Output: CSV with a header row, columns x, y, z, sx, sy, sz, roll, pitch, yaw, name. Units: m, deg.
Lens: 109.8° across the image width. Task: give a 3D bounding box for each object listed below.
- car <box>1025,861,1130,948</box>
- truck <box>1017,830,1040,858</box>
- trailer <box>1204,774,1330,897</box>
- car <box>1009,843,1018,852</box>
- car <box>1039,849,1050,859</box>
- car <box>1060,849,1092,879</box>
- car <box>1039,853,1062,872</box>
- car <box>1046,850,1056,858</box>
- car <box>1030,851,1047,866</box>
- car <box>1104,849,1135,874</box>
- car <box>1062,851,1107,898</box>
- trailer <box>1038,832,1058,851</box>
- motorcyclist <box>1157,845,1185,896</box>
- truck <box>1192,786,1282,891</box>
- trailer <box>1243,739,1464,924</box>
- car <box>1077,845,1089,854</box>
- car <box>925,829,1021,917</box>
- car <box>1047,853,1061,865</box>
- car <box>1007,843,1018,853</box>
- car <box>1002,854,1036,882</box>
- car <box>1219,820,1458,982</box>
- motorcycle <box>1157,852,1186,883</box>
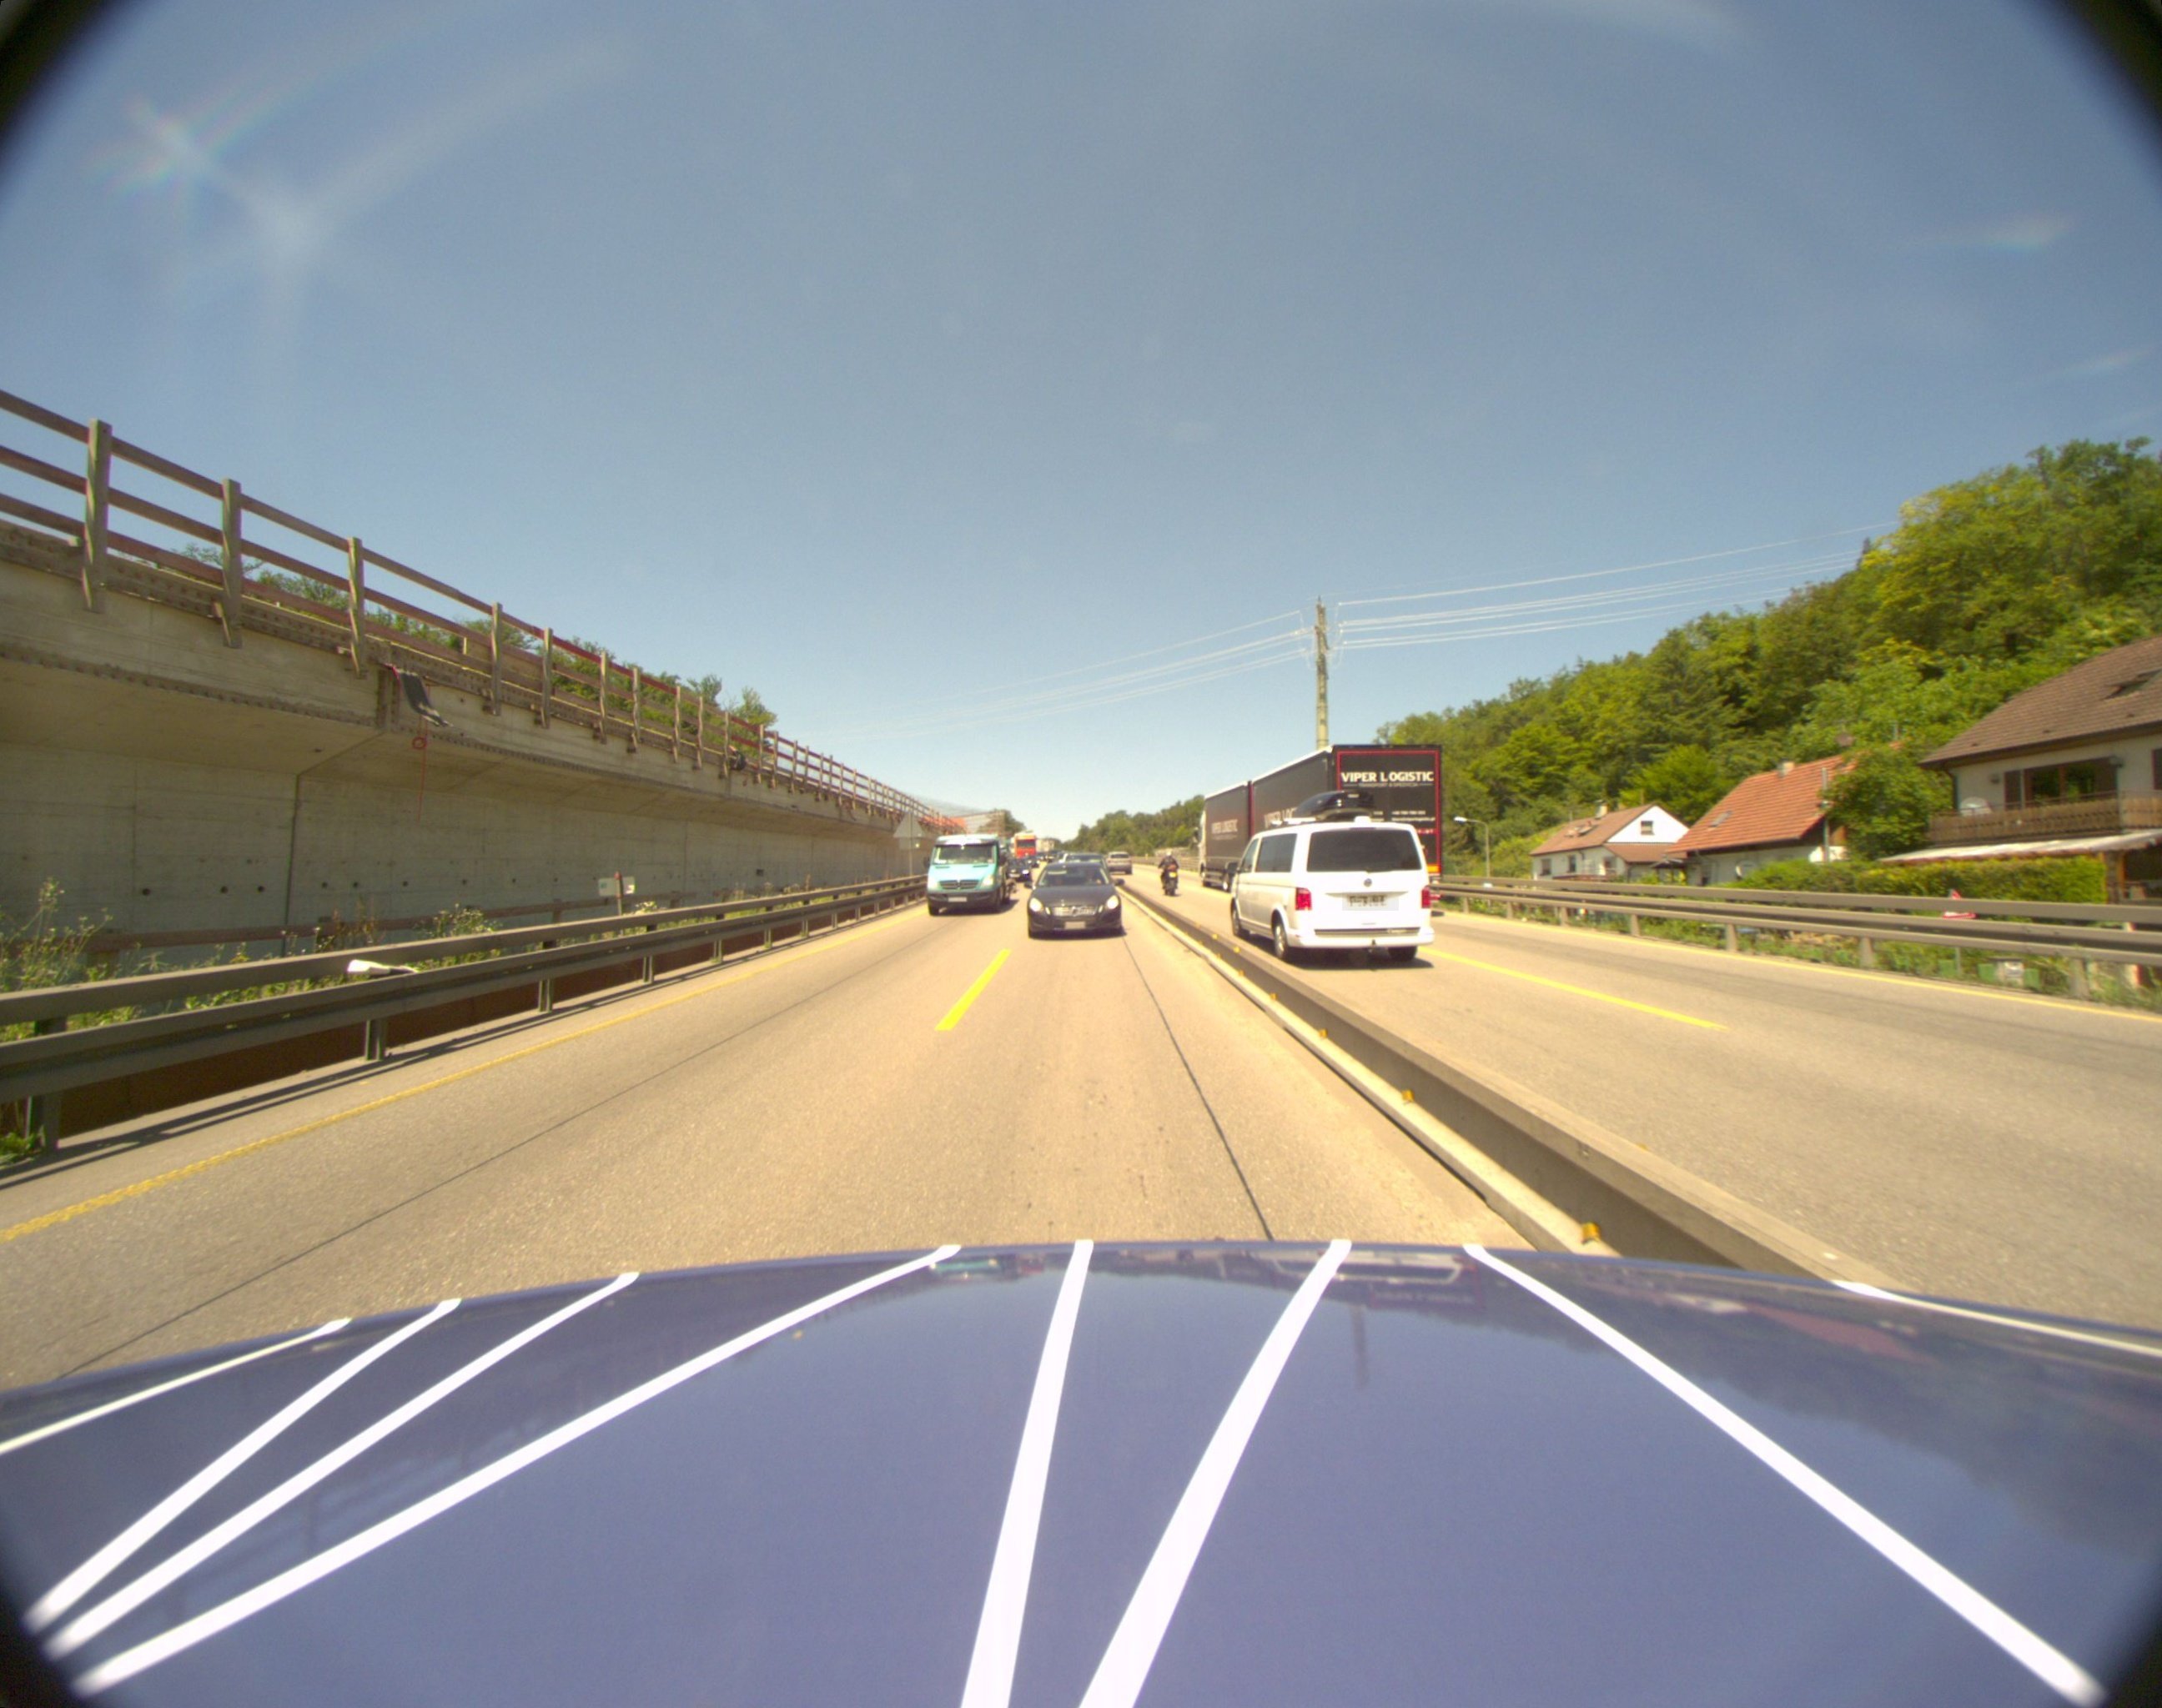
x,y,z,sx,sy,sz,roll,pitch,yaw,name
-0.232,0.929,16.060,1.845,1.475,4.560,-1,0,-5,car
-6.993,-1.381,100.235,2.472,3.464,9.860,-2,1,-6,truck
6.919,-0.575,29.572,2.764,4.046,8.007,-2,0,-1,trailer
-13.508,-1.274,152.830,1.586,1.666,3.343,-2,1,-1,car
-5.738,-0.002,119.234,1.586,1.366,3.343,-2,1,-1,car
-0.307,0.559,44.857,1.736,1.558,3.618,-2,1,-2,car
-2.351,0.649,59.212,1.647,1.366,3.343,-2,1,-1,car
-5.167,-0.033,132.298,1.586,1.366,3.343,-2,1,-1,car
-4.371,0.464,78.996,1.647,1.366,3.343,-2,1,-1,car
2.707,0.516,53.767,1.864,1.602,4.067,-2,1,-1,car
0.077,0.717,28.335,1.520,1.543,3.859,-1,1,-1,car
-8.078,-2.976,185.338,3.262,4.354,14.045,-2,1,-8,trailer
3.360,0.619,28.351,0.855,1.844,0.983,-2,0,0,motorcyclist
6.835,-0.662,33.996,2.759,4.258,4.956,-2,0,-2,truck
6.992,-0.466,21.228,2.764,4.046,8.633,-2,0,-1,trailer
0.337,-0.839,128.636,1.846,1.410,4.685,0,1,-1,car
-3.146,0.452,23.770,2.217,2.312,6.899,-1,1,-2,car
-3.223,0.578,91.602,1.586,1.366,3.343,-2,1,-1,car
-11.855,-1.105,131.393,1.586,1.660,3.343,-2,1,-1,car
-3.537,0.769,44.082,1.739,1.401,3.584,-2,1,-2,car
3.655,0.536,11.897,2.027,1.949,4.897,-2,1,0,car
3.341,0.492,28.222,0.788,1.073,1.912,-2,0,0,motorcycle
